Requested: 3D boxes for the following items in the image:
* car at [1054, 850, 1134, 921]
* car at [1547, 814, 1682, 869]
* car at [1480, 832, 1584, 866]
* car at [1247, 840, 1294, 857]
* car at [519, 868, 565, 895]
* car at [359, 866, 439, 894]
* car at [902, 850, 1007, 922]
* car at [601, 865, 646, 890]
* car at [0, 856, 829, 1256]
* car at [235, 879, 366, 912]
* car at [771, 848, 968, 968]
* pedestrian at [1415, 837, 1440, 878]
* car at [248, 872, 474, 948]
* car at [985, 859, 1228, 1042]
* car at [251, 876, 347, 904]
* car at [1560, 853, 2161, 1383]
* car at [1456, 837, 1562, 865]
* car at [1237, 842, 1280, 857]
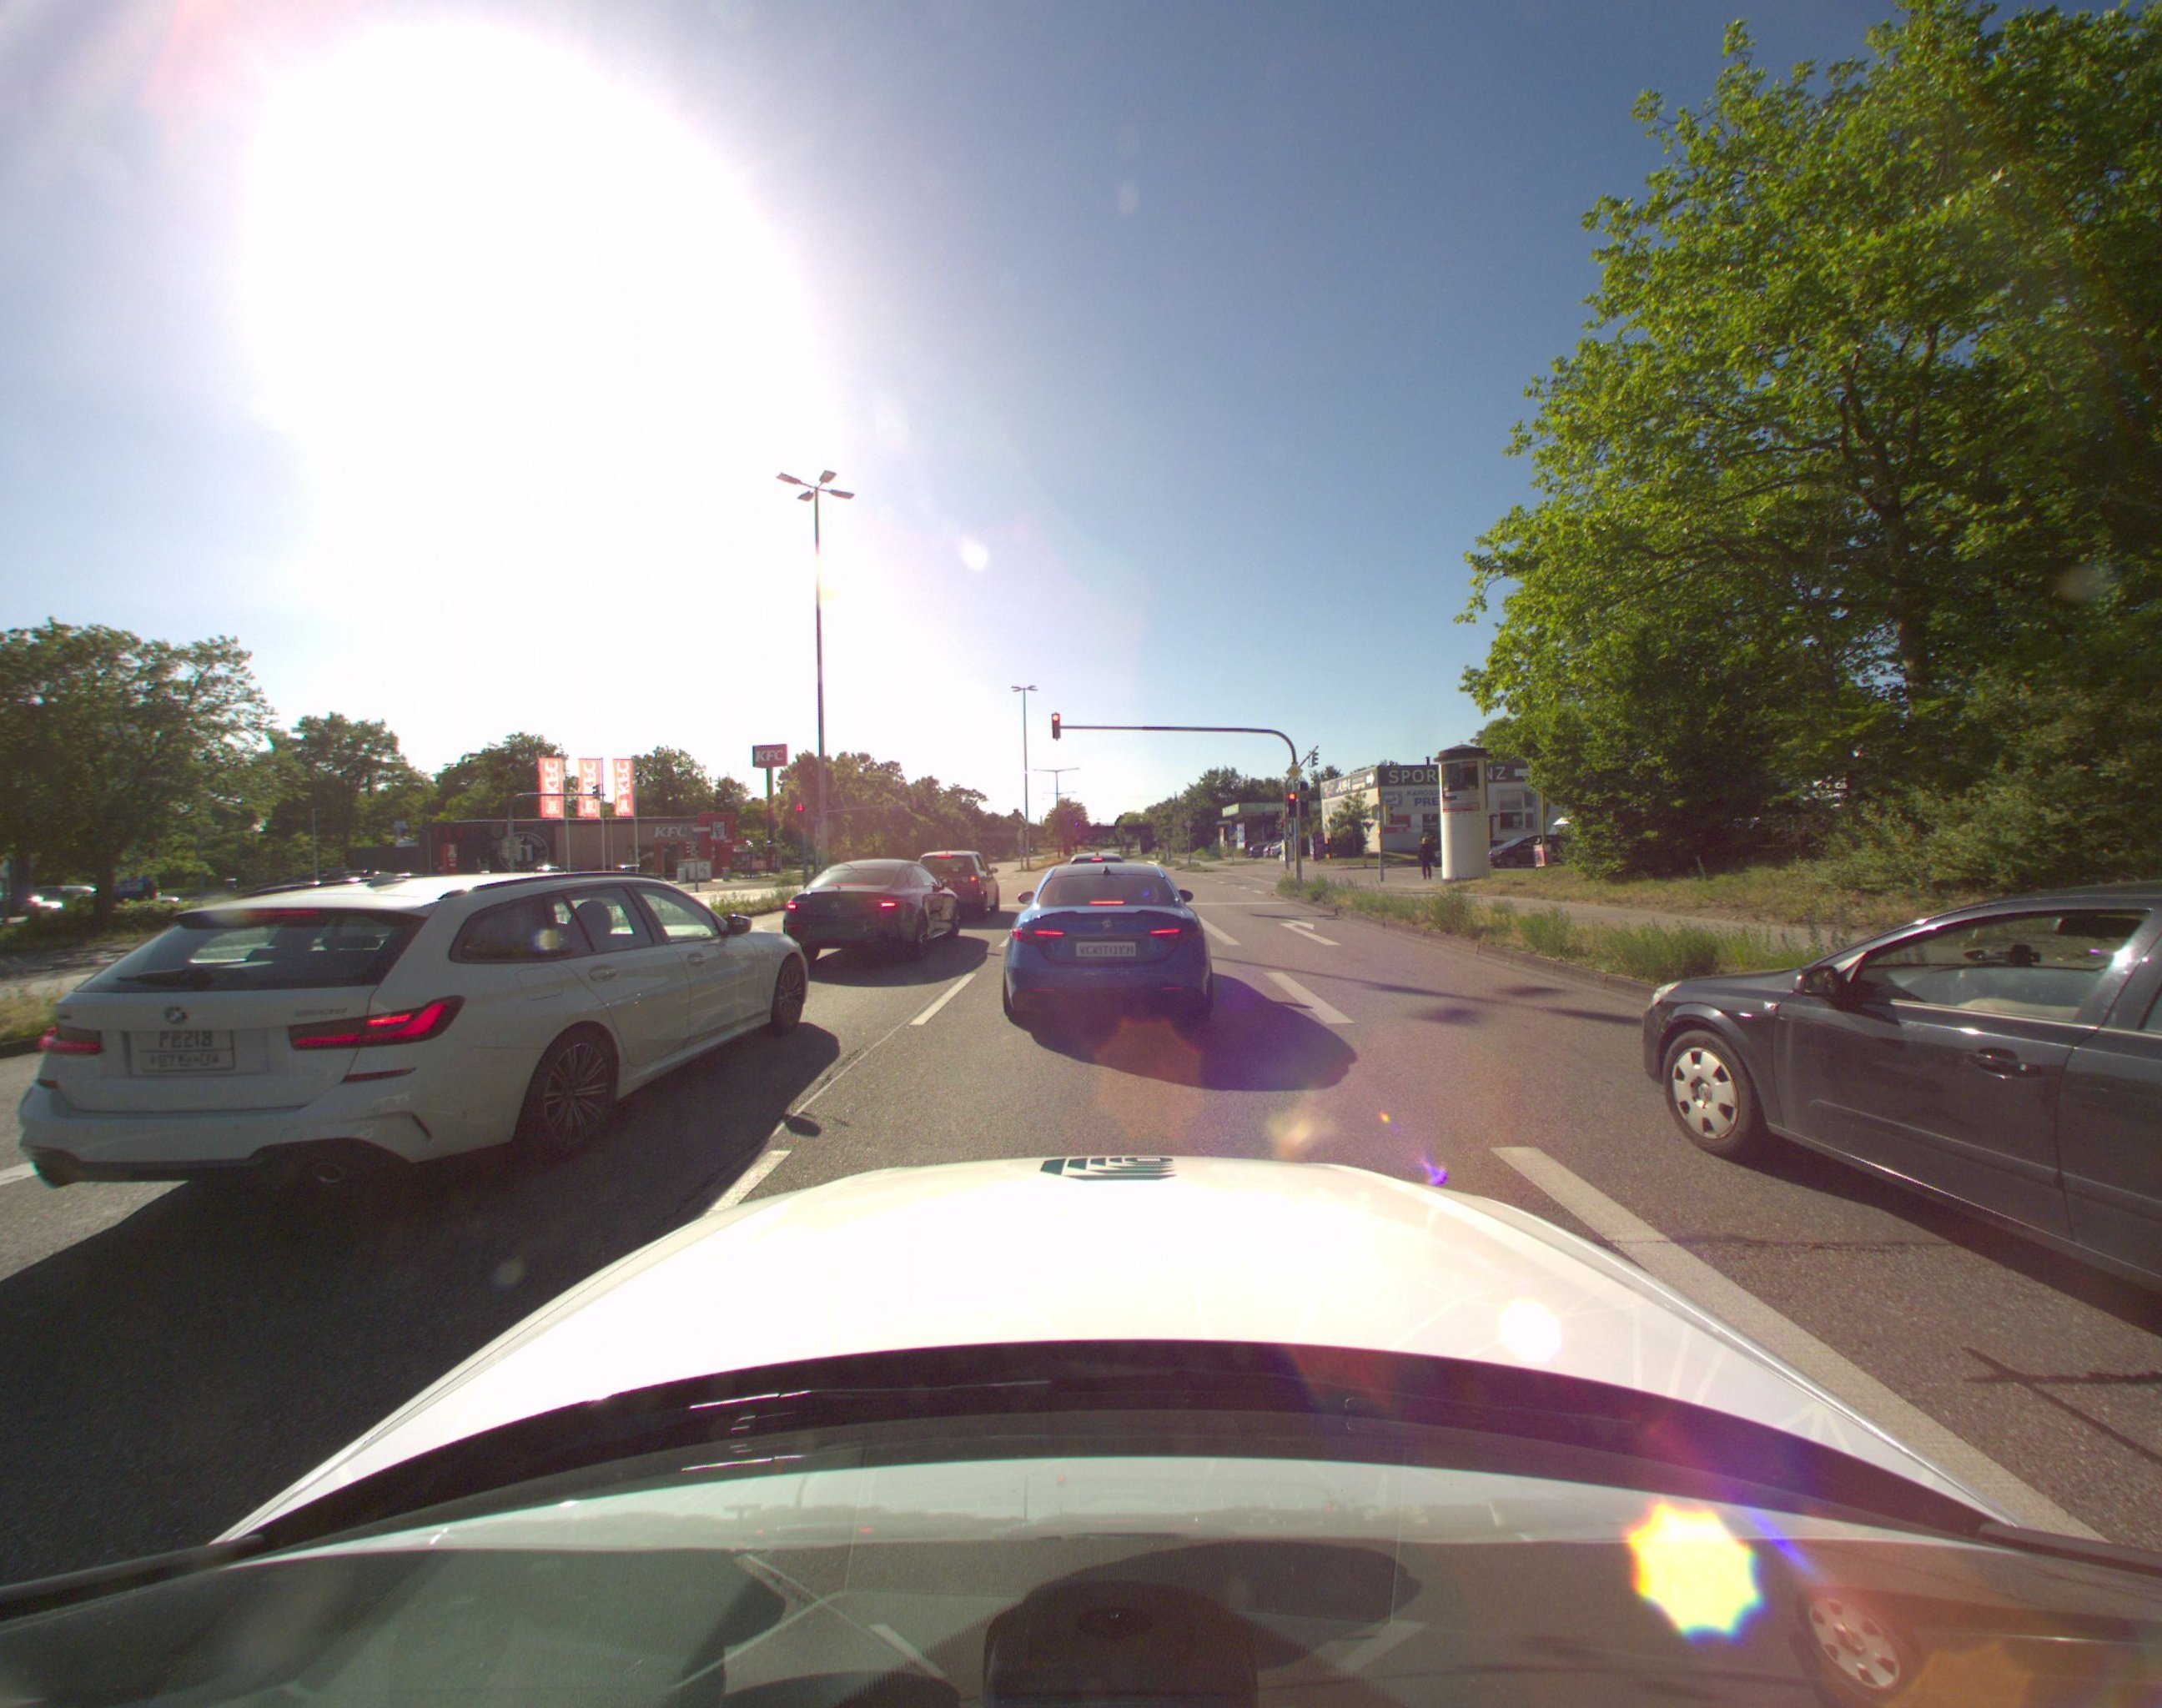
[{"bbox_3d":[0.394,0.691,19.237,1.696,1.497,3.722,0,0,3],"label":"car"},{"bbox_3d":[28.824,-0.673,44.150,5.812,2.672,2.001,-2,-1,2],"label":"car"},{"bbox_3d":[22.571,-0.229,40.846,4.291,1.650,1.638,0,-1,1],"label":"car"},{"bbox_3d":[17.783,-0.527,76.446,3.971,1.552,2.001,0,-1,2],"label":"car"},{"bbox_3d":[-37.394,1.866,56.451,1.946,1.740,4.046,0,-1,-45],"label":"car"},{"bbox_3d":[-46.495,1.745,55.614,1.981,1.813,3.783,0,0,10],"label":"car"},{"bbox_3d":[-2.908,0.700,19.630,1.806,1.551,4.353,0,0,0],"label":"car"},{"bbox_3d":[-33.763,1.712,60.077,1.946,1.740,4.046,0,-1,-45],"label":"car"},{"bbox_3d":[-3.393,0.785,5.421,1.805,1.486,4.599,-1,0,2],"label":"car"},{"bbox_3d":[-38.970,2.054,40.749,4.608,1.579,1.936,0,-1,0],"label":"car"},{"bbox_3d":[-3.073,0.698,12.874,1.805,1.551,4.544,-1,0,1],"label":"car"},{"bbox_3d":[14.311,0.159,33.648,0.814,1.669,0.514,0,-1,1],"label":"pedestrian"},{"bbox_3d":[-19.351,1.424,22.181,1.790,1.726,4.338,-1,0,13],"label":"car"},{"bbox_3d":[0.310,0.771,8.237,1.901,1.423,3.722,0,0,3],"label":"car"},{"bbox_3d":[-45.527,2.067,47.461,3.742,1.559,2.003,0,-1,5],"label":"car"},{"bbox_3d":[3.840,0.722,2.963,1.727,1.442,4.373,0,0,2],"label":"car"},{"bbox_3d":[23.166,-0.167,44.190,4.803,1.468,1.758,0,-1,0],"label":"car"},{"bbox_3d":[18.525,-0.476,85.034,3.995,1.552,1.989,0,-1,-16],"label":"car"}]
